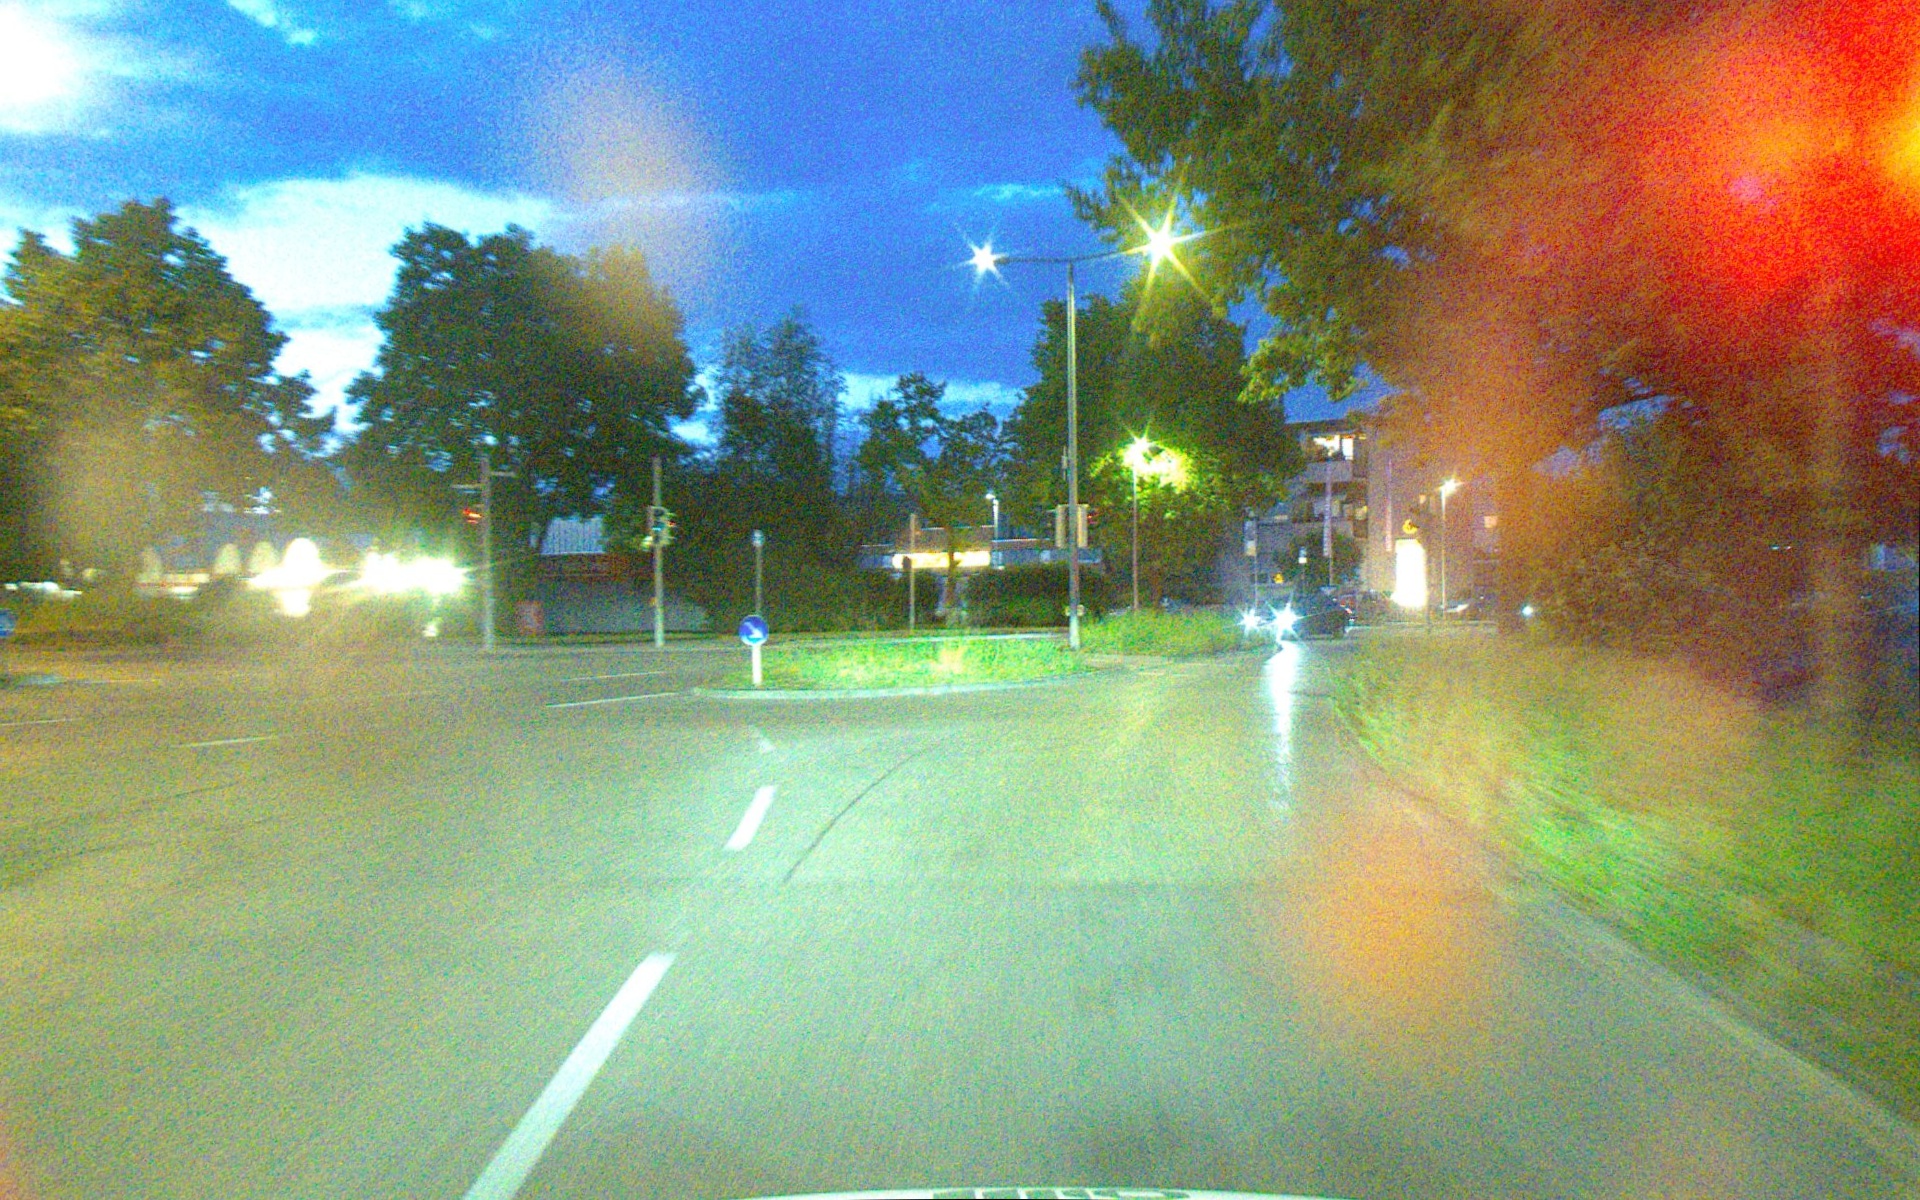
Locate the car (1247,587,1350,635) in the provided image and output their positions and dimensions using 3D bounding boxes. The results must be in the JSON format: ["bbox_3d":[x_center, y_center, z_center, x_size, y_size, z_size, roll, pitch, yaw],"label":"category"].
[{"bbox_3d":[10.871,0.320,52.865,1.728,1.471,4.515,0,0,33],"label":"car"}]

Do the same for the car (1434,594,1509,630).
[{"bbox_3d":[24.669,0.584,79.717,1.730,1.635,4.423,-1,0,43],"label":"car"}]

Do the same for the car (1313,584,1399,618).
[{"bbox_3d":[17.557,0.017,73.266,3.647,1.445,1.534,-1,1,-30],"label":"car"}]

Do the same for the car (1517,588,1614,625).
[{"bbox_3d":[25.067,0.250,68.395,4.544,1.427,1.740,-1,1,-40],"label":"car"}]
